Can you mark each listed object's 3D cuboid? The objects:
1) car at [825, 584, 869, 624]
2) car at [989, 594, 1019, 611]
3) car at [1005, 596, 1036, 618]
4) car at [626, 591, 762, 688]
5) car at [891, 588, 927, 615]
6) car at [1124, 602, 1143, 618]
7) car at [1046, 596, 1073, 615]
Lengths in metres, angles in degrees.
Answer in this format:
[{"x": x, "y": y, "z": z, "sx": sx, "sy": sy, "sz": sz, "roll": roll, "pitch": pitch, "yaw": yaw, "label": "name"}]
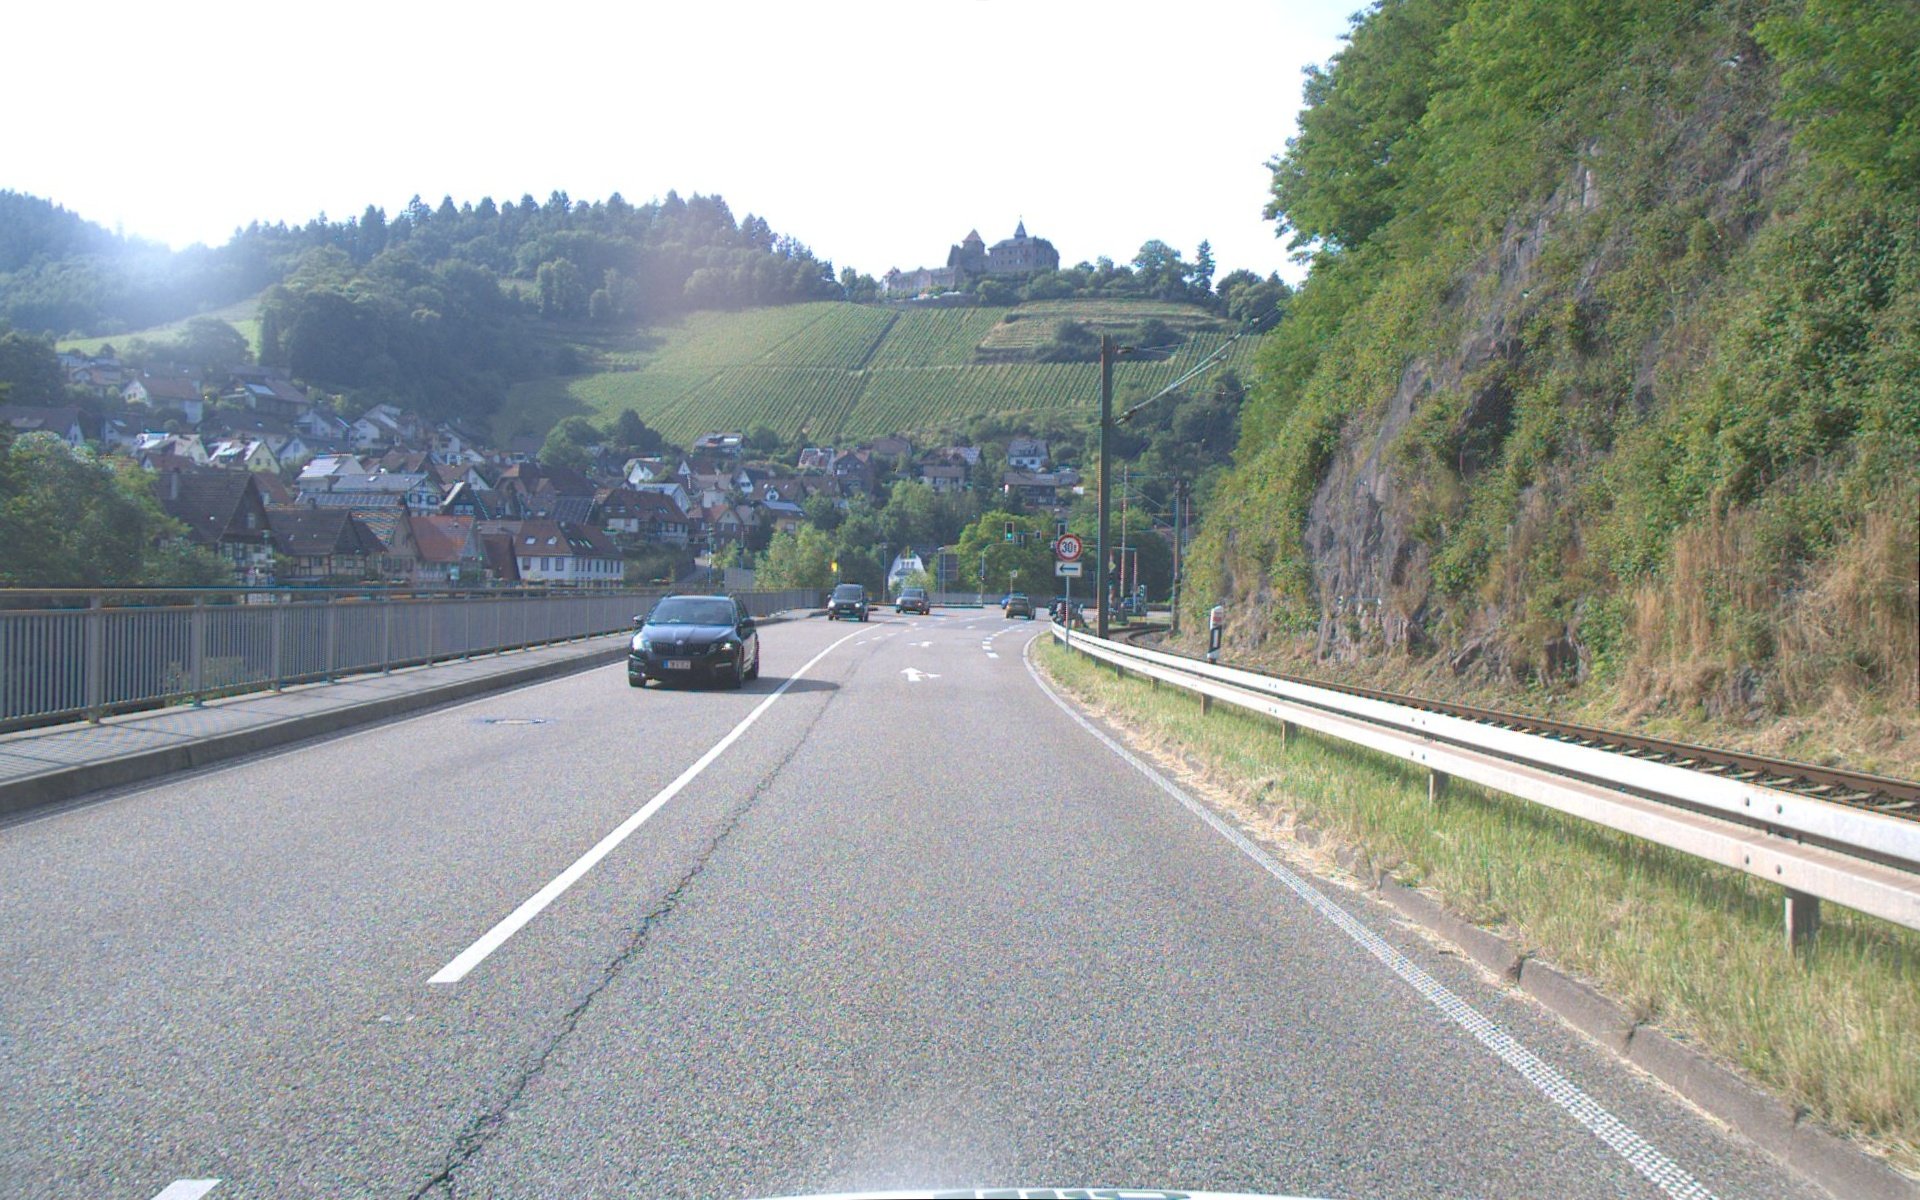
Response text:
[{"x": -5.564, "y": 0.180, "z": 81.765, "sx": 1.754, "sy": 1.860, "sz": 4.829, "roll": 1, "pitch": 0, "yaw": 1, "label": "car"}, {"x": 3.993, "y": 0.237, "z": 150.370, "sx": 1.744, "sy": 1.508, "sz": 4.529, "roll": 2, "pitch": 0, "yaw": 13, "label": "car"}, {"x": 4.185, "y": 0.501, "z": 113.966, "sx": 1.691, "sy": 1.482, "sz": 3.413, "roll": 1, "pitch": -1, "yaw": 10, "label": "car"}, {"x": -4.262, "y": 0.588, "z": 27.065, "sx": 1.686, "sy": 1.460, "sz": 4.337, "roll": 0, "pitch": 0, "yaw": -3, "label": "car"}, {"x": -3.386, "y": 0.092, "z": 110.355, "sx": 1.778, "sy": 1.675, "sz": 4.615, "roll": 2, "pitch": 0, "yaw": 5, "label": "car"}, {"x": 17.075, "y": 1.008, "z": 162.693, "sx": 1.768, "sy": 1.478, "sz": 3.650, "roll": 1, "pitch": -1, "yaw": 8, "label": "car"}, {"x": 8.069, "y": 0.426, "z": 134.049, "sx": 1.801, "sy": 1.485, "sz": 3.716, "roll": 1, "pitch": -1, "yaw": 10, "label": "car"}]
